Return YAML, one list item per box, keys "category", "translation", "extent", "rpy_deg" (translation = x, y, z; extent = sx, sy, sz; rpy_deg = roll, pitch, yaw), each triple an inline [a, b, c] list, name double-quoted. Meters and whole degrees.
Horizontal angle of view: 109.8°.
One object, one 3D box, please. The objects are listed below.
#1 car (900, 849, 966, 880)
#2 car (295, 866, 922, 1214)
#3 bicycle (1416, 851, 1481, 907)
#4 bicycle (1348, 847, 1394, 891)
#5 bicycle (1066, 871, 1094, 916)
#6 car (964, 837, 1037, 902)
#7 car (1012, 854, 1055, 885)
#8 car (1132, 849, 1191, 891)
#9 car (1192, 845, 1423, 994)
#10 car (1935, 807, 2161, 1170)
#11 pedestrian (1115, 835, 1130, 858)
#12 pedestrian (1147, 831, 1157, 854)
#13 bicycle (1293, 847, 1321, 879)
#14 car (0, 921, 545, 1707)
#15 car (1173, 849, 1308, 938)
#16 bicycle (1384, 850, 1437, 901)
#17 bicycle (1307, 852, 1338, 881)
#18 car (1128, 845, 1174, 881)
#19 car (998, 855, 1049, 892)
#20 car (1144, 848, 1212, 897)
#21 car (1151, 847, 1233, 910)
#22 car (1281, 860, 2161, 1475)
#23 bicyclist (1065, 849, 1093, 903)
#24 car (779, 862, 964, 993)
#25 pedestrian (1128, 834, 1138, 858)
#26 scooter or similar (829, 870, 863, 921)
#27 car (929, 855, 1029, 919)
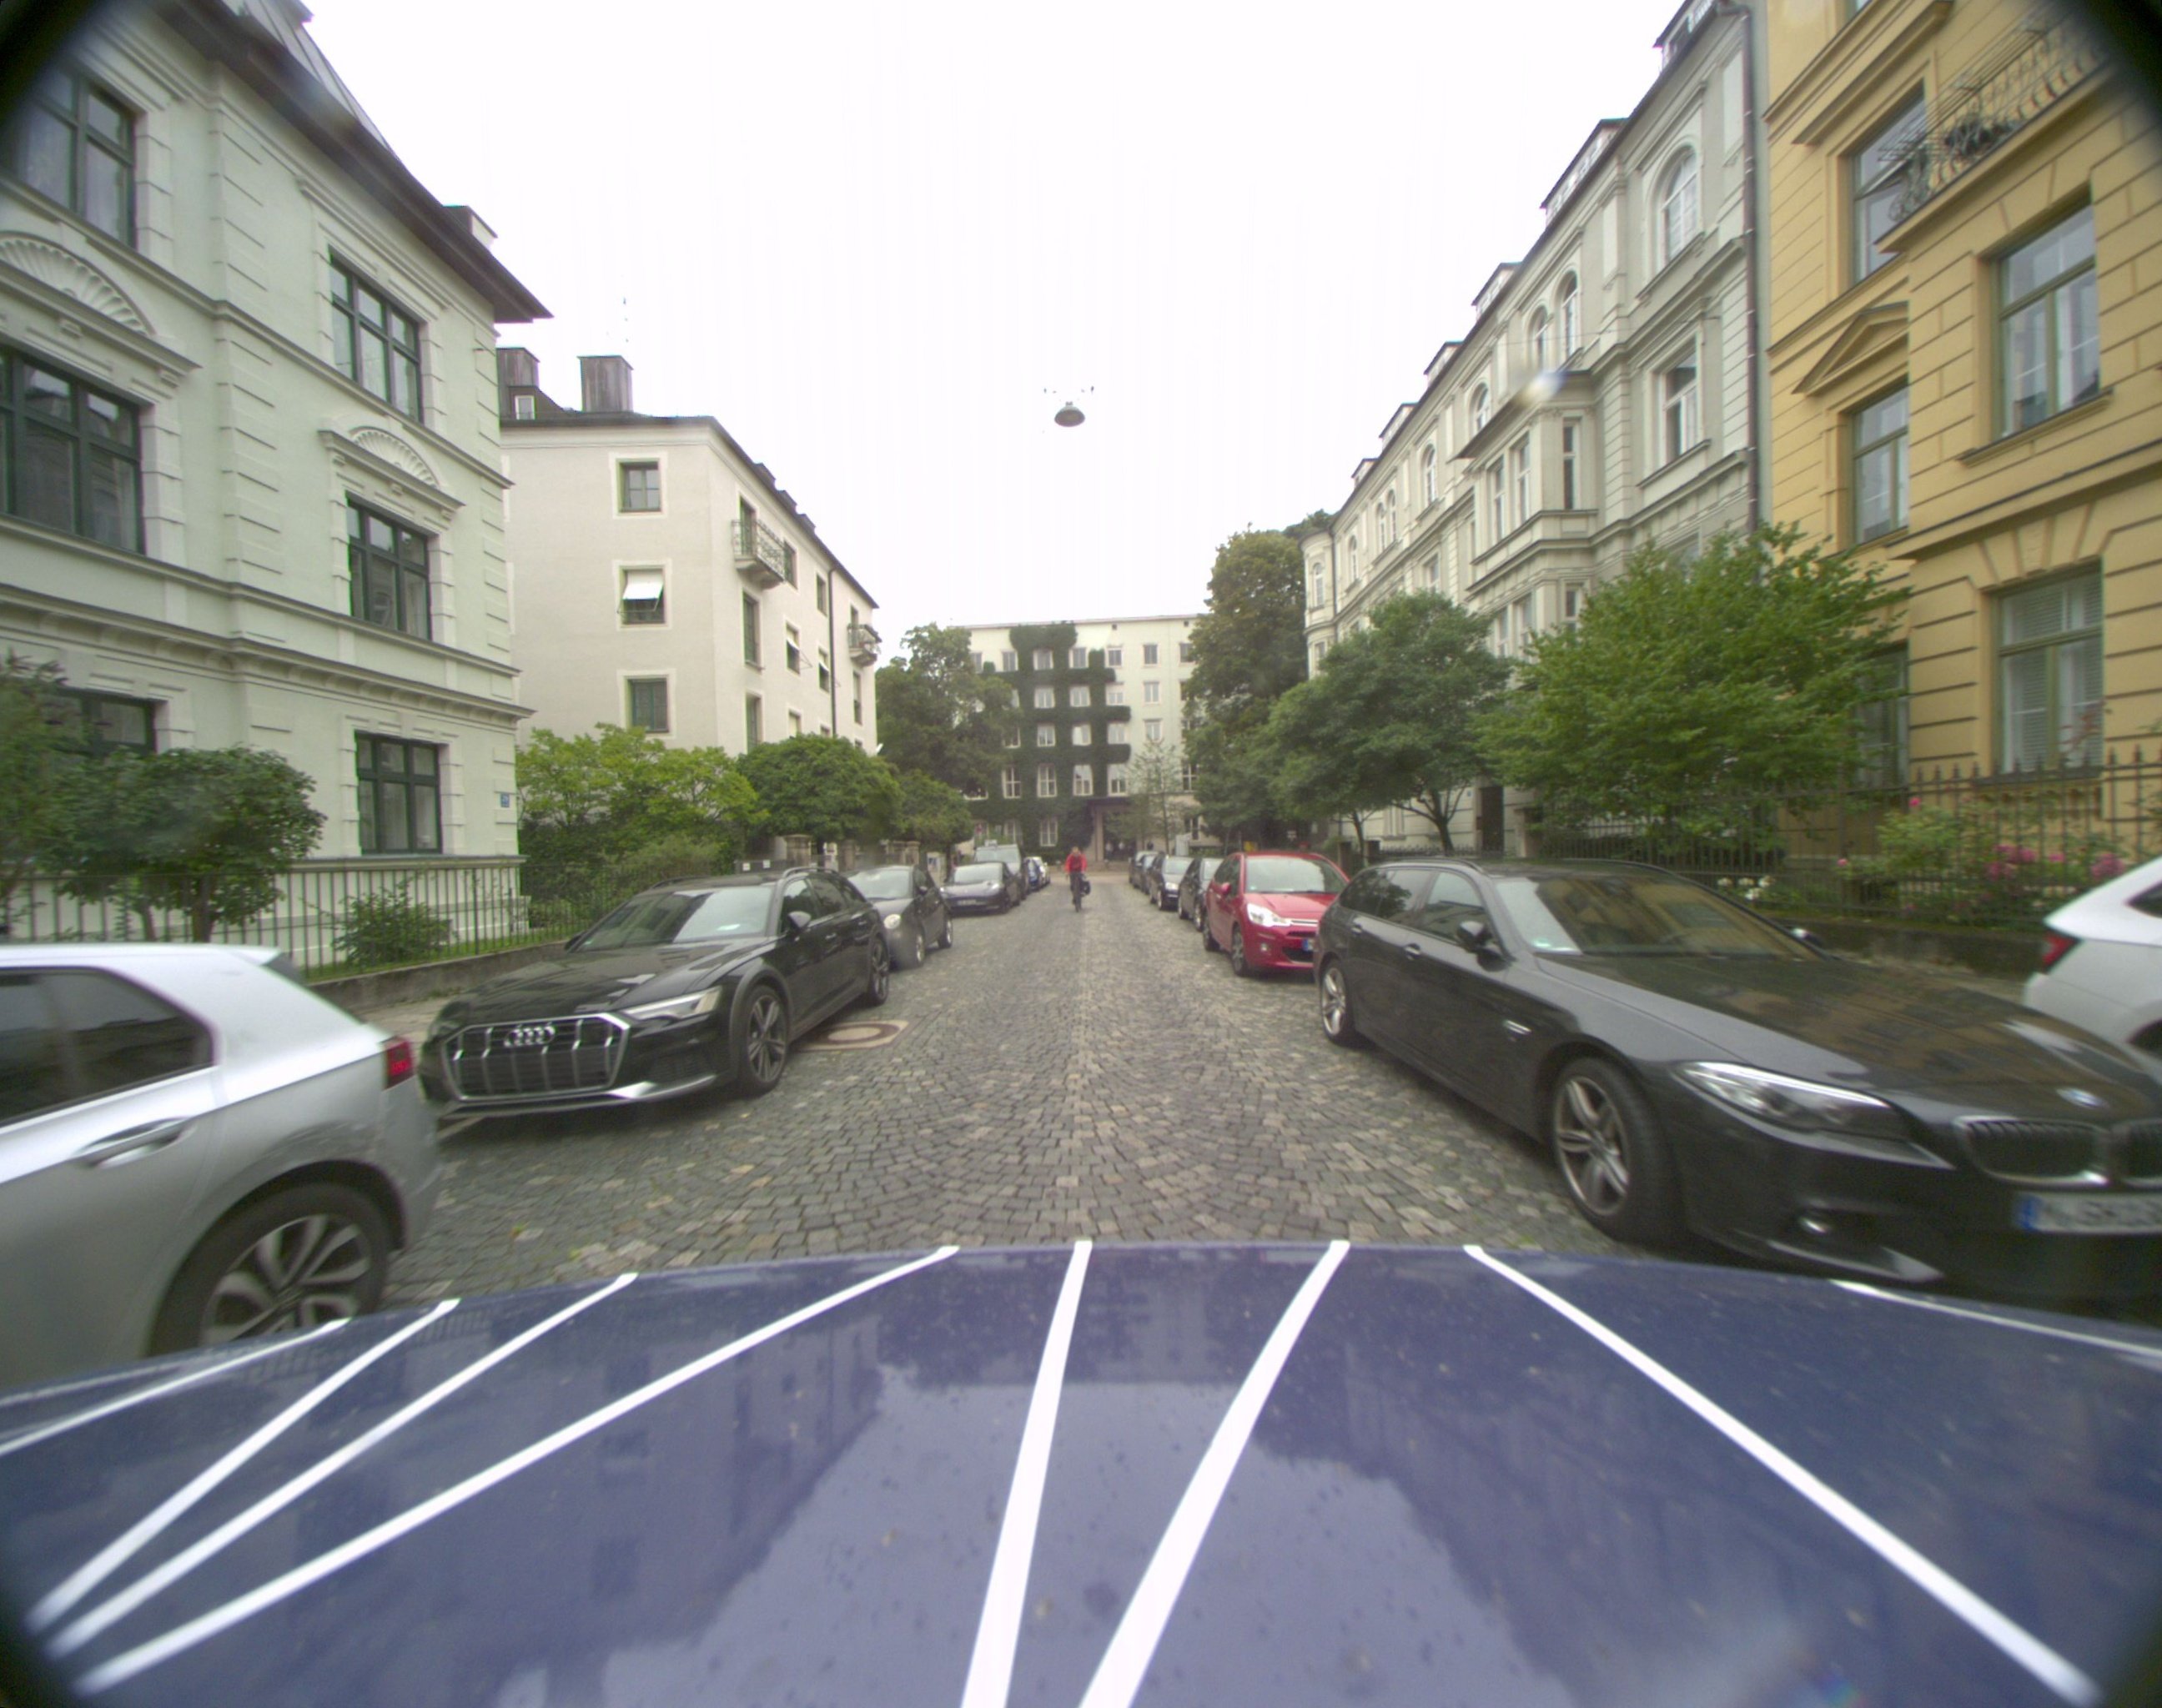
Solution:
- category: "car"
  translation: [-9.876, 0.691, 50.960]
  extent: [3.997, 1.671, 1.899]
  rpy_deg: [-4, 1, -2]
- category: "car"
  translation: [-2.971, 1.008, 6.465]
  extent: [1.909, 1.494, 5.105]
  rpy_deg: [-5, 1, 2]
- category: "bicycle"
  translation: [7.755, 0.500, 16.097]
  extent: [0.474, 1.045, 1.759]
  rpy_deg: [-5, 1, 1]
- category: "bicycle"
  translation: [7.993, 0.390, 21.009]
  extent: [0.510, 1.118, 1.790]
  rpy_deg: [-5, 1, 1]
- category: "bicycle"
  translation: [-0.015, 1.015, 20.105]
  extent: [0.636, 1.021, 1.955]
  rpy_deg: [-3, 1, 0]
- category: "car"
  translation: [-2.774, 0.477, 27.362]
  extent: [1.999, 1.958, 4.965]
  rpy_deg: [-5, 1, -1]
- category: "car"
  translation: [-2.300, 0.710, 37.591]
  extent: [1.744, 1.367, 4.281]
  rpy_deg: [-1, 1, 1]
- category: "car"
  translation: [3.175, 0.588, 30.620]
  extent: [1.744, 1.490, 4.280]
  rpy_deg: [-1, 1, -2]
- category: "car"
  translation: [2.768, 0.688, 10.334]
  extent: [1.846, 1.577, 4.191]
  rpy_deg: [-1, 1, 0]
- category: "car"
  translation: [5.286, 0.534, 1.690]
  extent: [1.846, 1.457, 4.389]
  rpy_deg: [-3, 1, 1]
- category: "pedestrian"
  translation: [3.490, -0.631, 64.005]
  extent: [0.703, 1.905, 0.861]
  rpy_deg: [-5, 2, -30]
- category: "pedestrian"
  translation: [5.973, -0.947, 63.971]
  extent: [0.665, 1.905, 0.863]
  rpy_deg: [-4, 2, 9]
- category: "bicycle"
  translation: [8.125, 0.300, 27.392]
  extent: [0.464, 1.045, 1.695]
  rpy_deg: [-5, 1, 1]
- category: "car"
  translation: [-3.140, 1.096, 0.803]
  extent: [1.760, 1.451, 4.480]
  rpy_deg: [-5, 1, 2]
- category: "car"
  translation: [3.121, 0.685, 15.874]
  extent: [1.822, 1.501, 4.641]
  rpy_deg: [1, 1, 0]
- category: "bicycle"
  translation: [7.863, 0.492, 18.206]
  extent: [0.434, 1.093, 1.790]
  rpy_deg: [-5, 1, 1]
- category: "bicycle"
  translation: [8.129, 0.417, 25.606]
  extent: [0.439, 0.868, 1.790]
  rpy_deg: [-5, 1, 1]
- category: "car"
  translation: [3.272, 0.368, 36.052]
  extent: [1.744, 1.572, 4.280]
  rpy_deg: [-1, 1, 0]
- category: "car"
  translation: [-2.396, 0.785, 32.524]
  extent: [1.744, 1.367, 4.181]
  rpy_deg: [-1, 1, 1]
- category: "car"
  translation: [3.235, 0.560, 26.119]
  extent: [1.744, 1.490, 4.132]
  rpy_deg: [-1, 1, -1]
- category: "car"
  translation: [2.954, 0.597, 21.018]
  extent: [1.814, 1.490, 4.510]
  rpy_deg: [-1, 1, 3]
- category: "car"
  translation: [2.843, 0.841, 4.551]
  extent: [1.875, 1.462, 5.132]
  rpy_deg: [-1, 1, -1]
- category: "bicyclist"
  translation: [-0.045, 0.571, 19.861]
  extent: [0.648, 1.351, 0.656]
  rpy_deg: [-4, 1, 0]
- category: "car"
  translation: [-3.010, 0.977, 11.740]
  extent: [1.671, 1.500, 3.685]
  rpy_deg: [-5, 1, 1]
- category: "pedestrian"
  translation: [4.403, -0.677, 64.108]
  extent: [0.701, 1.905, 0.862]
  rpy_deg: [-4, 2, 4]
- category: "scooter or similar"
  translation: [-6.168, 1.060, 19.975]
  extent: [0.444, 1.209, 1.470]
  rpy_deg: [3, 1, -2]
- category: "car"
  translation: [-2.774, 0.852, 21.765]
  extent: [1.942, 1.457, 4.532]
  rpy_deg: [-4, 1, 3]
